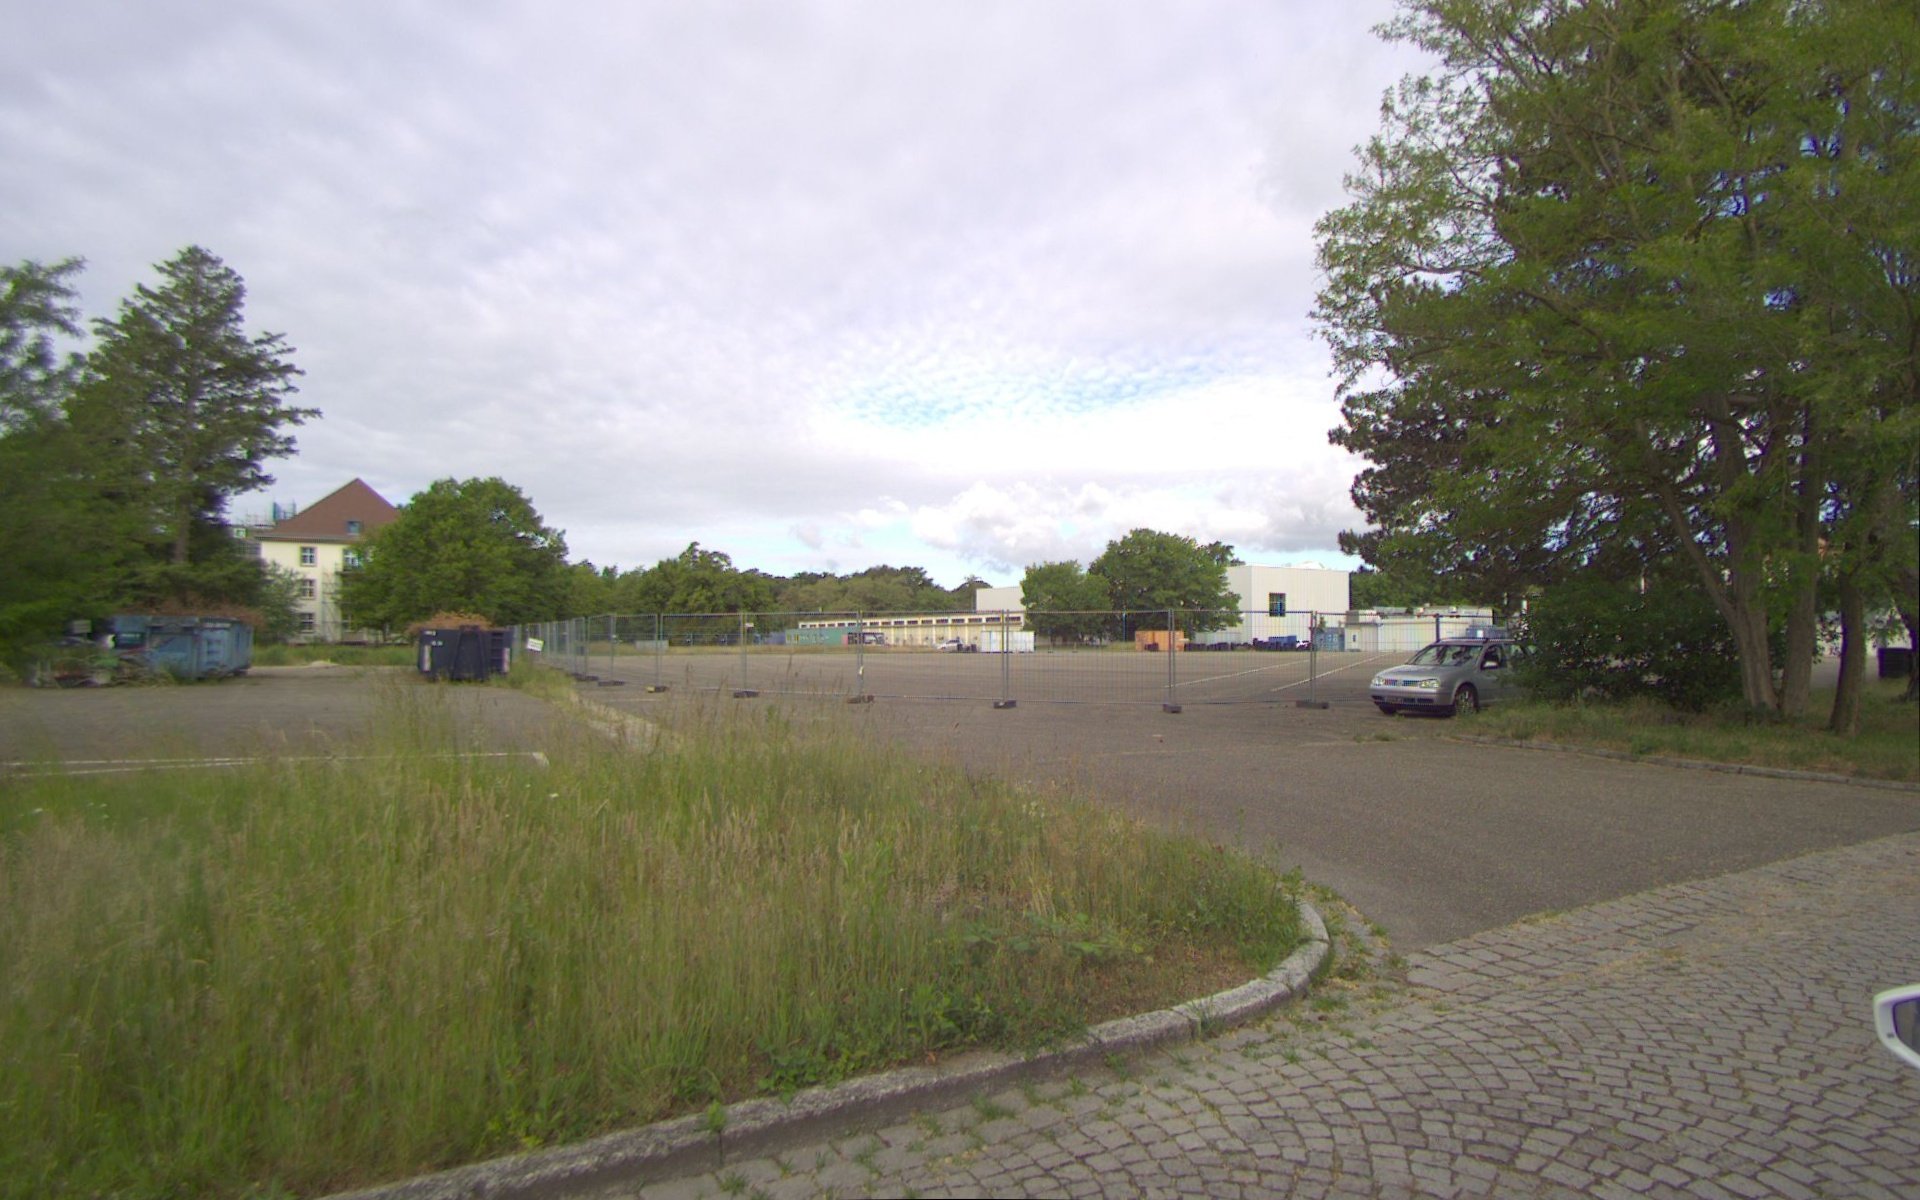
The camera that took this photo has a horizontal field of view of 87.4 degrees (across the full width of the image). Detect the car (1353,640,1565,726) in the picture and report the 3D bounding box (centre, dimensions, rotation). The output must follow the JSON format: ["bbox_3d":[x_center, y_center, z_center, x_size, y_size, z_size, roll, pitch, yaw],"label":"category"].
[{"bbox_3d":[9.756,1.537,19.570,4.112,1.451,1.722,0,-2,-30],"label":"car"}]

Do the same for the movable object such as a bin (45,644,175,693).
[{"bbox_3d":[-20.476,1.641,24.267,2.242,1.140,0.852,2,-2,-30],"label":"movable object such as a bin"}]

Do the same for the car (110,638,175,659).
[{"bbox_3d":[-86.467,5.155,106.335,5.094,2.177,1.760,3,-3,-32],"label":"car"}]
